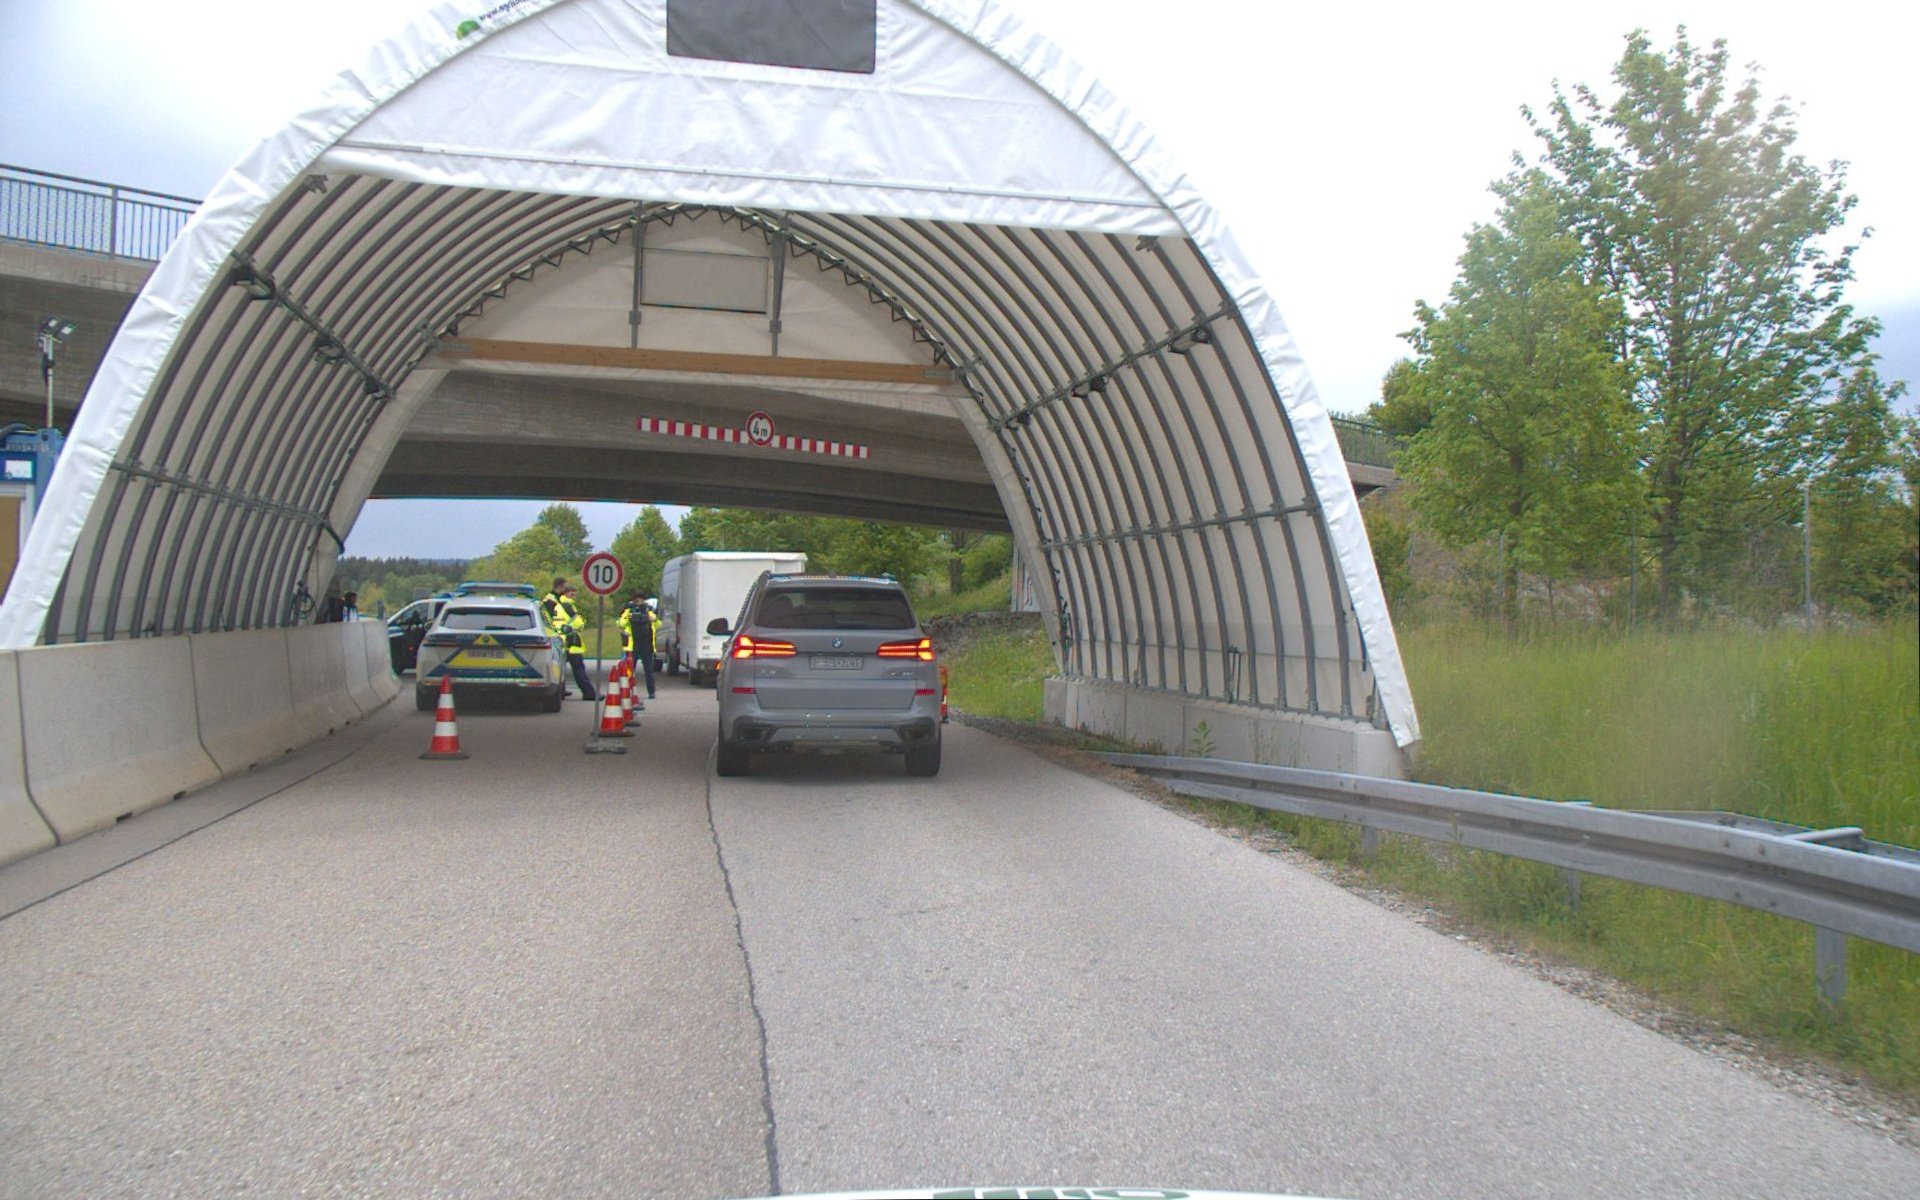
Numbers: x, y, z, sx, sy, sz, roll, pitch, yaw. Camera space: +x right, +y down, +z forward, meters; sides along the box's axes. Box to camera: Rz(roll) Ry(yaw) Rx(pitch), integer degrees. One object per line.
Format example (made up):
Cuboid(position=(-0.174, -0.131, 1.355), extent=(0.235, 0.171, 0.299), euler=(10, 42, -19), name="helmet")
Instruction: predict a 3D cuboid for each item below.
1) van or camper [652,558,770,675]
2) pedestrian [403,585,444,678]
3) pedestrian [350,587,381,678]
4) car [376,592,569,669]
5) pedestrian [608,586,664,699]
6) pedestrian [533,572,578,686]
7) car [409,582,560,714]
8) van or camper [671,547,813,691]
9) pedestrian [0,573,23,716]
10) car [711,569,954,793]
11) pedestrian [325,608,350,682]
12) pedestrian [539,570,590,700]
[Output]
Cuboid(position=(-5.979, 0.370, 39.118), extent=(2.070, 2.563, 5.526), euler=(0, 0, -16), name="van or camper")
Cuboid(position=(-11.963, 0.698, 36.875), extent=(0.686, 2.049, 0.692), euler=(0, -1, -1), name="pedestrian")
Cuboid(position=(-13.664, 0.740, 38.012), extent=(0.614, 2.049, 0.653), euler=(0, -1, -16), name="pedestrian")
Cuboid(position=(-13.309, 0.813, 45.288), extent=(4.703, 2.049, 1.842), euler=(0, -1, 7), name="car")
Cuboid(position=(-5.121, 0.659, 26.139), extent=(0.768, 1.752, 0.752), euler=(0, -1, -20), name="pedestrian")
Cuboid(position=(-6.411, 0.449, 26.216), extent=(0.597, 1.784, 0.665), euler=(0, -1, -6), name="pedestrian")
Cuboid(position=(-6.538, 0.617, 23.028), extent=(1.846, 1.675, 3.985), euler=(0, 0, -14), name="car")
Cuboid(position=(-4.502, 0.358, 33.181), extent=(2.192, 2.597, 6.588), euler=(0, 0, -13), name="van or camper")
Cuboid(position=(-9.674, 0.433, 16.199), extent=(0.597, 1.397, 0.628), euler=(0, -1, 8), name="pedestrian")
Cuboid(position=(-1.321, 0.661, 15.415), extent=(1.957, 1.796, 3.991), euler=(0, 0, -9), name="car")
Cuboid(position=(-13.433, 0.970, 35.704), extent=(0.495, 1.573, 0.460), euler=(0, -1, -20), name="pedestrian")
Cuboid(position=(-6.057, 0.533, 25.308), extent=(0.736, 1.952, 0.760), euler=(0, -1, -15), name="pedestrian")
